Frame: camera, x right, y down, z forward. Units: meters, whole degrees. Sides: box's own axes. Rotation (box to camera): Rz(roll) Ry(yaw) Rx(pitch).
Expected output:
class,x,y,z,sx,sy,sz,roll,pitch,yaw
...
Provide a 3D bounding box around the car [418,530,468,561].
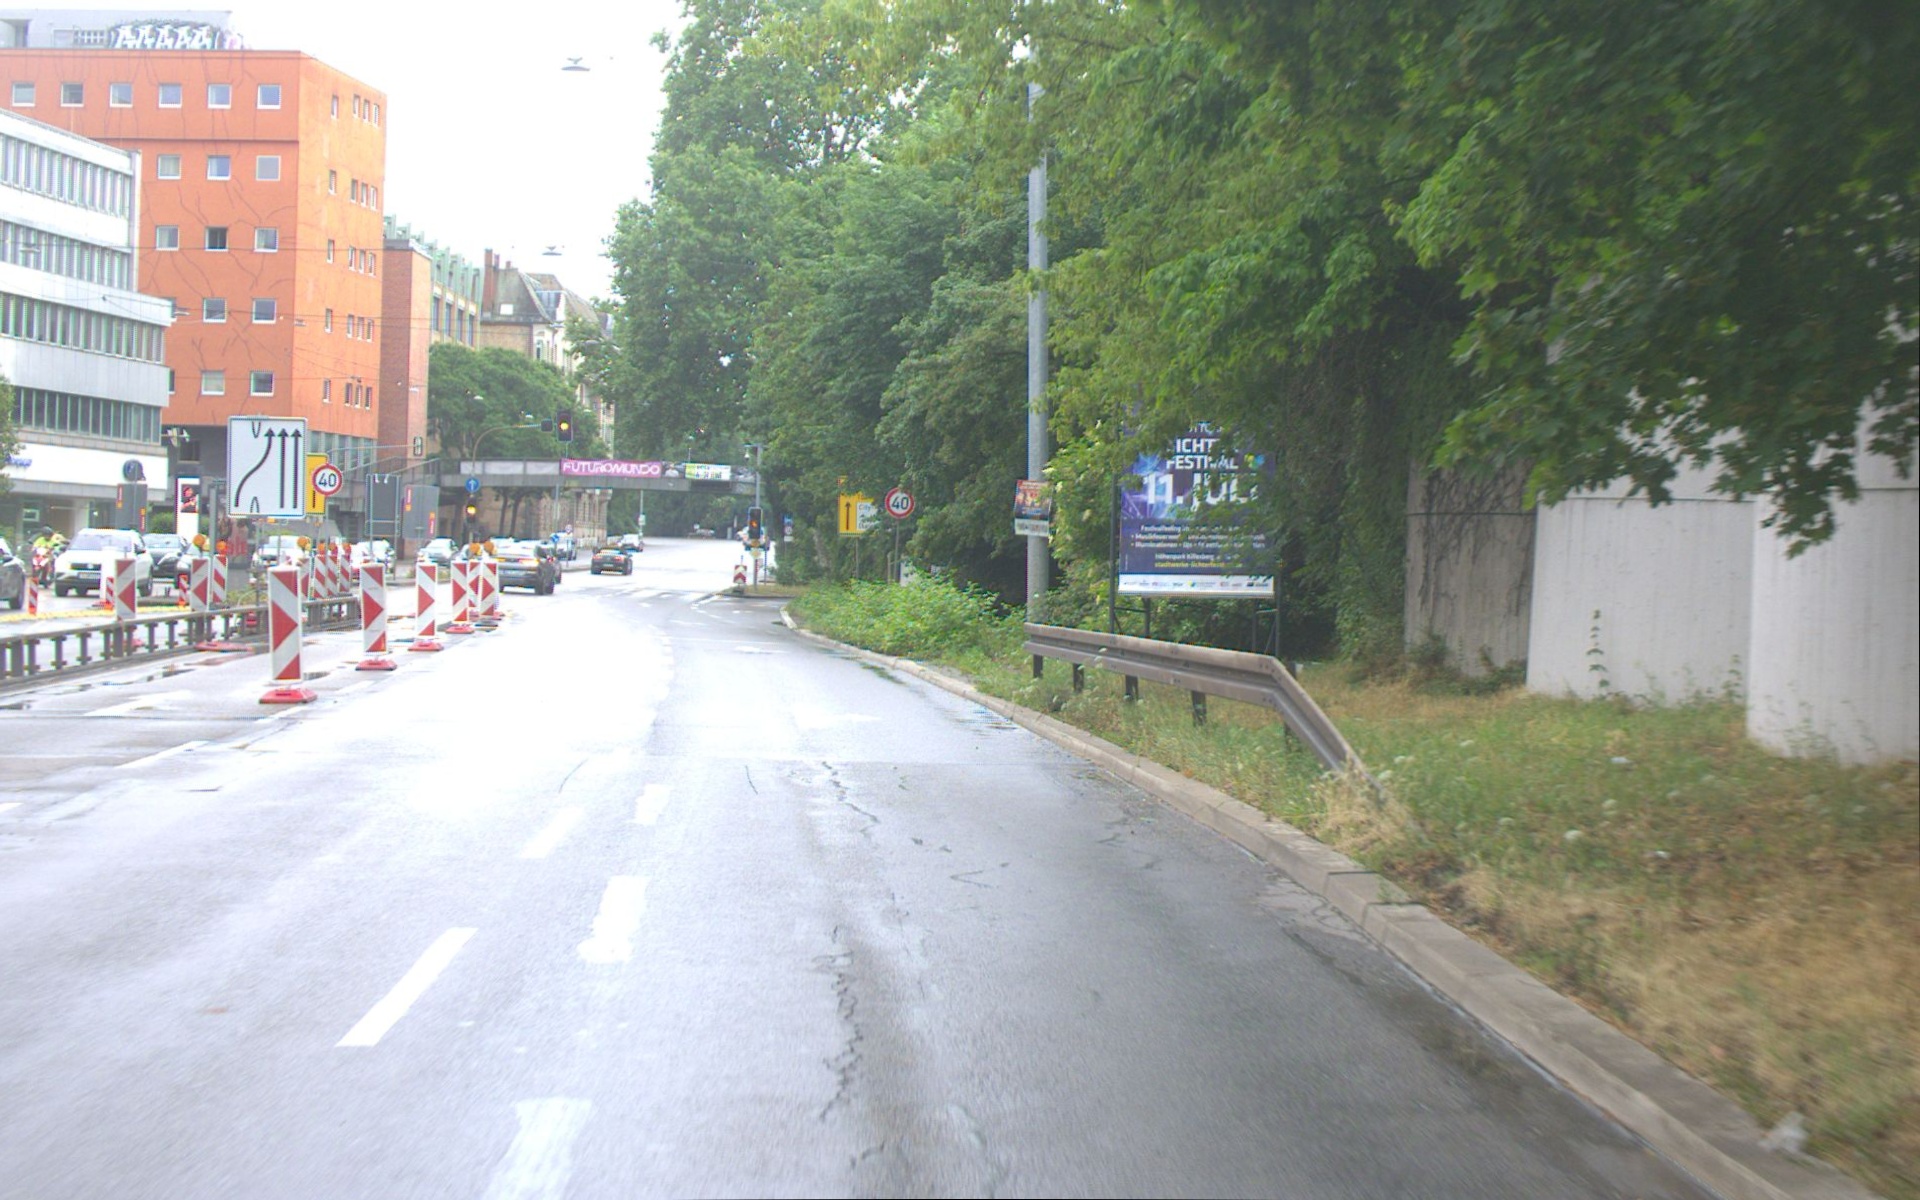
class,x,y,z,sx,sy,sz,roll,pitch,yaw
car,-26.588,-2.802,176.846,1.808,1.553,4.301,2,1,1

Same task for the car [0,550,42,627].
class,x,y,z,sx,sy,sz,roll,pitch,yaw
car,-19.379,-0.256,67.306,1.851,1.461,4.708,1,1,-4

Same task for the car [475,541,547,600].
class,x,y,z,sx,sy,sz,roll,pitch,yaw
car,-15.109,-1.017,115.863,2.120,1.729,4.199,4,2,-5

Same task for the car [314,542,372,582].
class,x,y,z,sx,sy,sz,roll,pitch,yaw
car,-23.009,-1.438,128.281,1.735,1.399,4.290,2,1,-5

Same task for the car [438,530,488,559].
class,x,y,z,sx,sy,sz,roll,pitch,yaw
car,-24.061,-2.693,166.654,1.689,1.350,4.115,1,1,2

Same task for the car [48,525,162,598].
class,x,y,z,sx,sy,sz,roll,pitch,yaw
car,-20.756,-0.955,83.611,1.938,1.684,4.581,1,1,-5

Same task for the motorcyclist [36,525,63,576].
class,x,y,z,sx,sy,sz,roll,pitch,yaw
motorcyclist,-24.095,-1.310,91.004,0.588,1.359,0.561,1,1,-4

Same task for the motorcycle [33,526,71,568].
class,x,y,z,sx,sy,sz,roll,pitch,yaw
motorcycle,-24.098,-1.396,91.254,0.579,1.098,2.028,1,1,-4

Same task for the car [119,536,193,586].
class,x,y,z,sx,sy,sz,roll,pitch,yaw
car,-25.430,-1.249,108.851,1.710,1.531,4.079,1,1,-5

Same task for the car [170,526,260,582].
class,x,y,z,sx,sy,sz,roll,pitch,yaw
car,-21.584,-1.349,99.742,1.958,1.516,4.301,1,1,-5

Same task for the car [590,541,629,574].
class,x,y,z,sx,sy,sz,roll,pitch,yaw
car,-18.057,-2.200,177.048,1.763,1.691,3.706,1,1,-3

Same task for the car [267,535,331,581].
class,x,y,z,sx,sy,sz,roll,pitch,yaw
car,-25.961,-1.656,135.166,1.979,1.701,4.832,1,1,-5
